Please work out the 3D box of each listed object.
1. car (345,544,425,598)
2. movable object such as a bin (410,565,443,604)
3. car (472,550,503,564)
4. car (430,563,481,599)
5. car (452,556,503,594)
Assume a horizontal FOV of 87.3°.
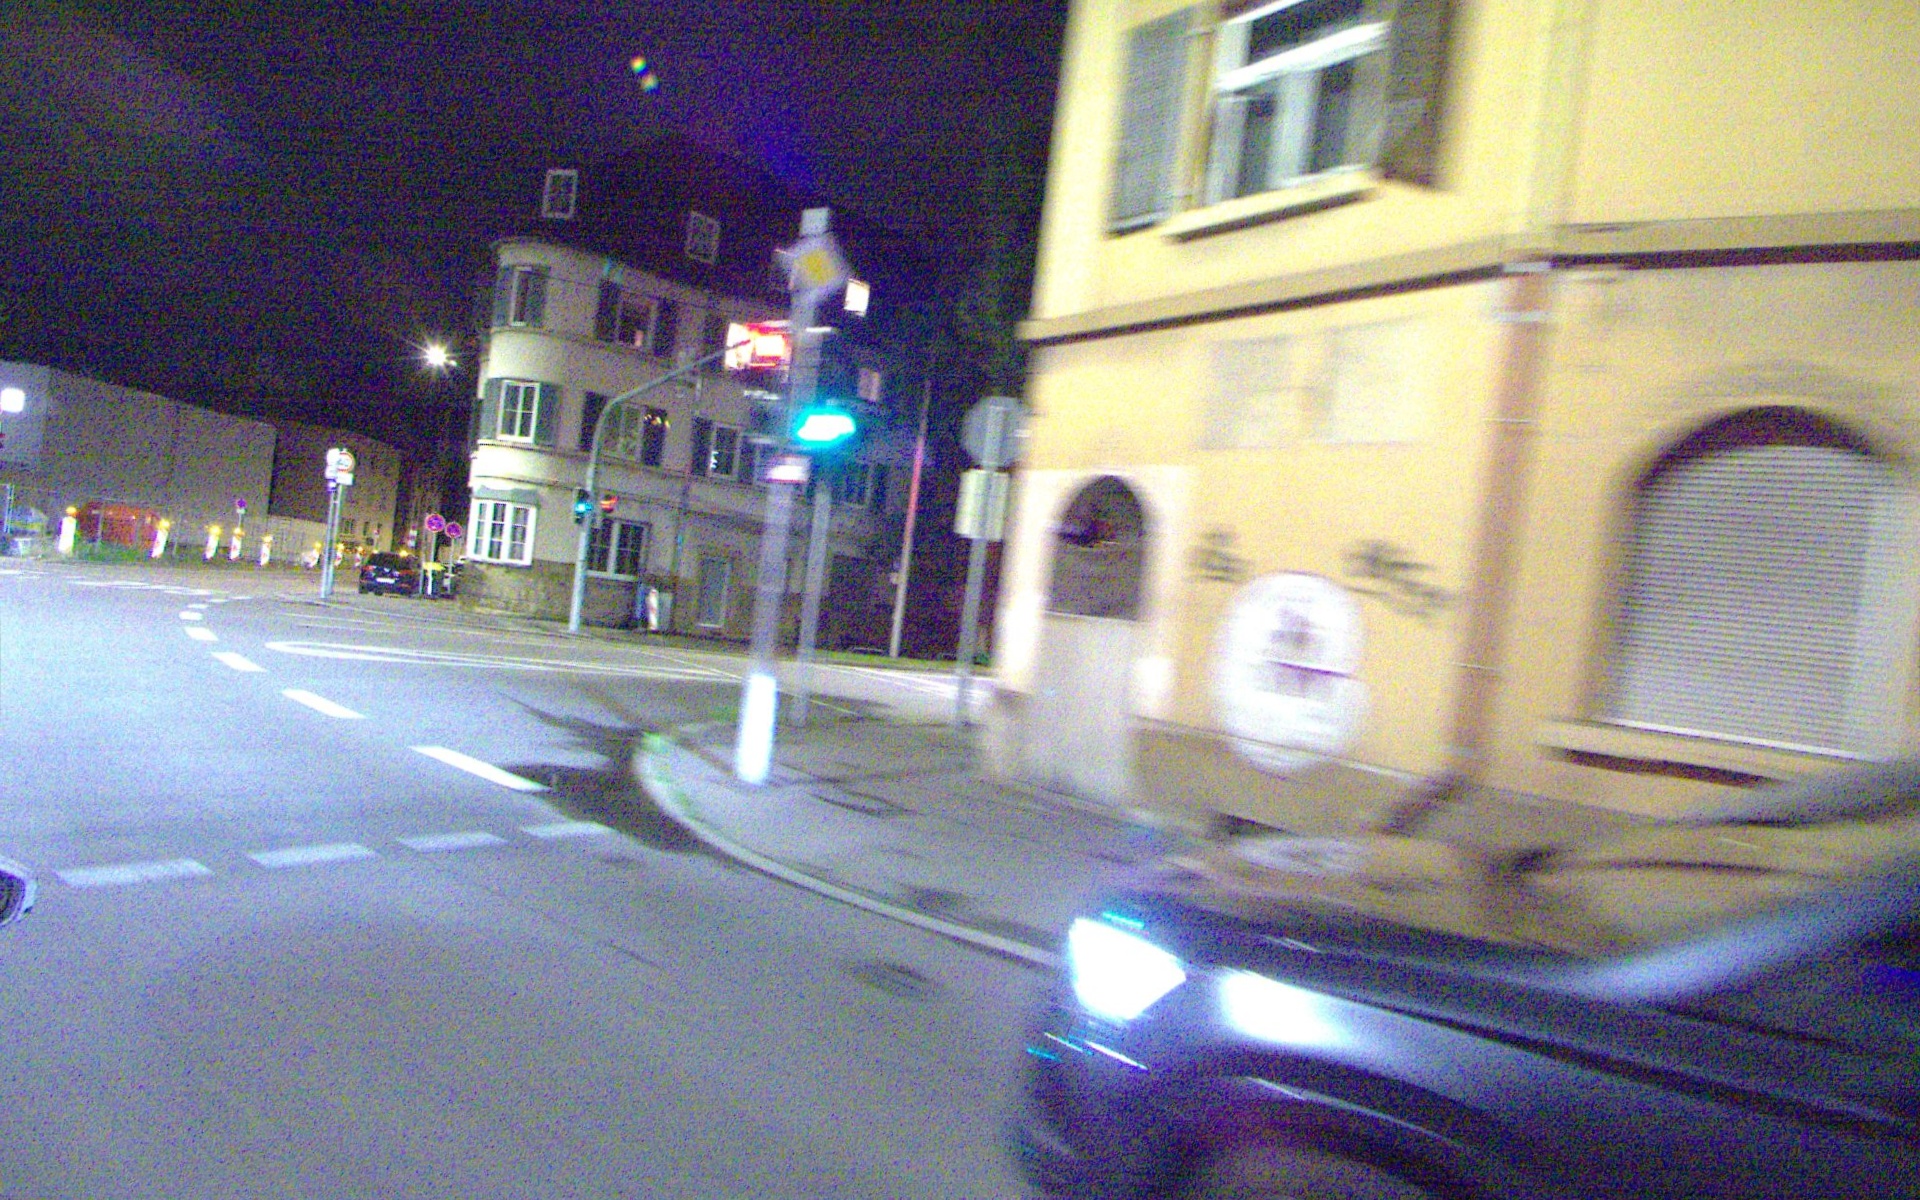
[{"bbox_3d":[-20.859,-1.010,36.639,1.725,1.703,4.240,6,-1,-20],"label":"car"},{"bbox_3d":[-21.520,-0.617,40.593,0.927,1.449,1.332,6,-1,-23],"label":"movable object such as a bin"},{"bbox_3d":[-77.844,-7.089,165.864,4.392,1.466,1.992,8,-2,-21],"label":"car"},{"bbox_3d":[-25.726,-0.939,51.394,1.725,1.584,4.193,6,-1,-20],"label":"car"},{"bbox_3d":[-28.572,-1.428,59.751,2.049,1.951,5.349,6,-1,-20],"label":"car"}]
